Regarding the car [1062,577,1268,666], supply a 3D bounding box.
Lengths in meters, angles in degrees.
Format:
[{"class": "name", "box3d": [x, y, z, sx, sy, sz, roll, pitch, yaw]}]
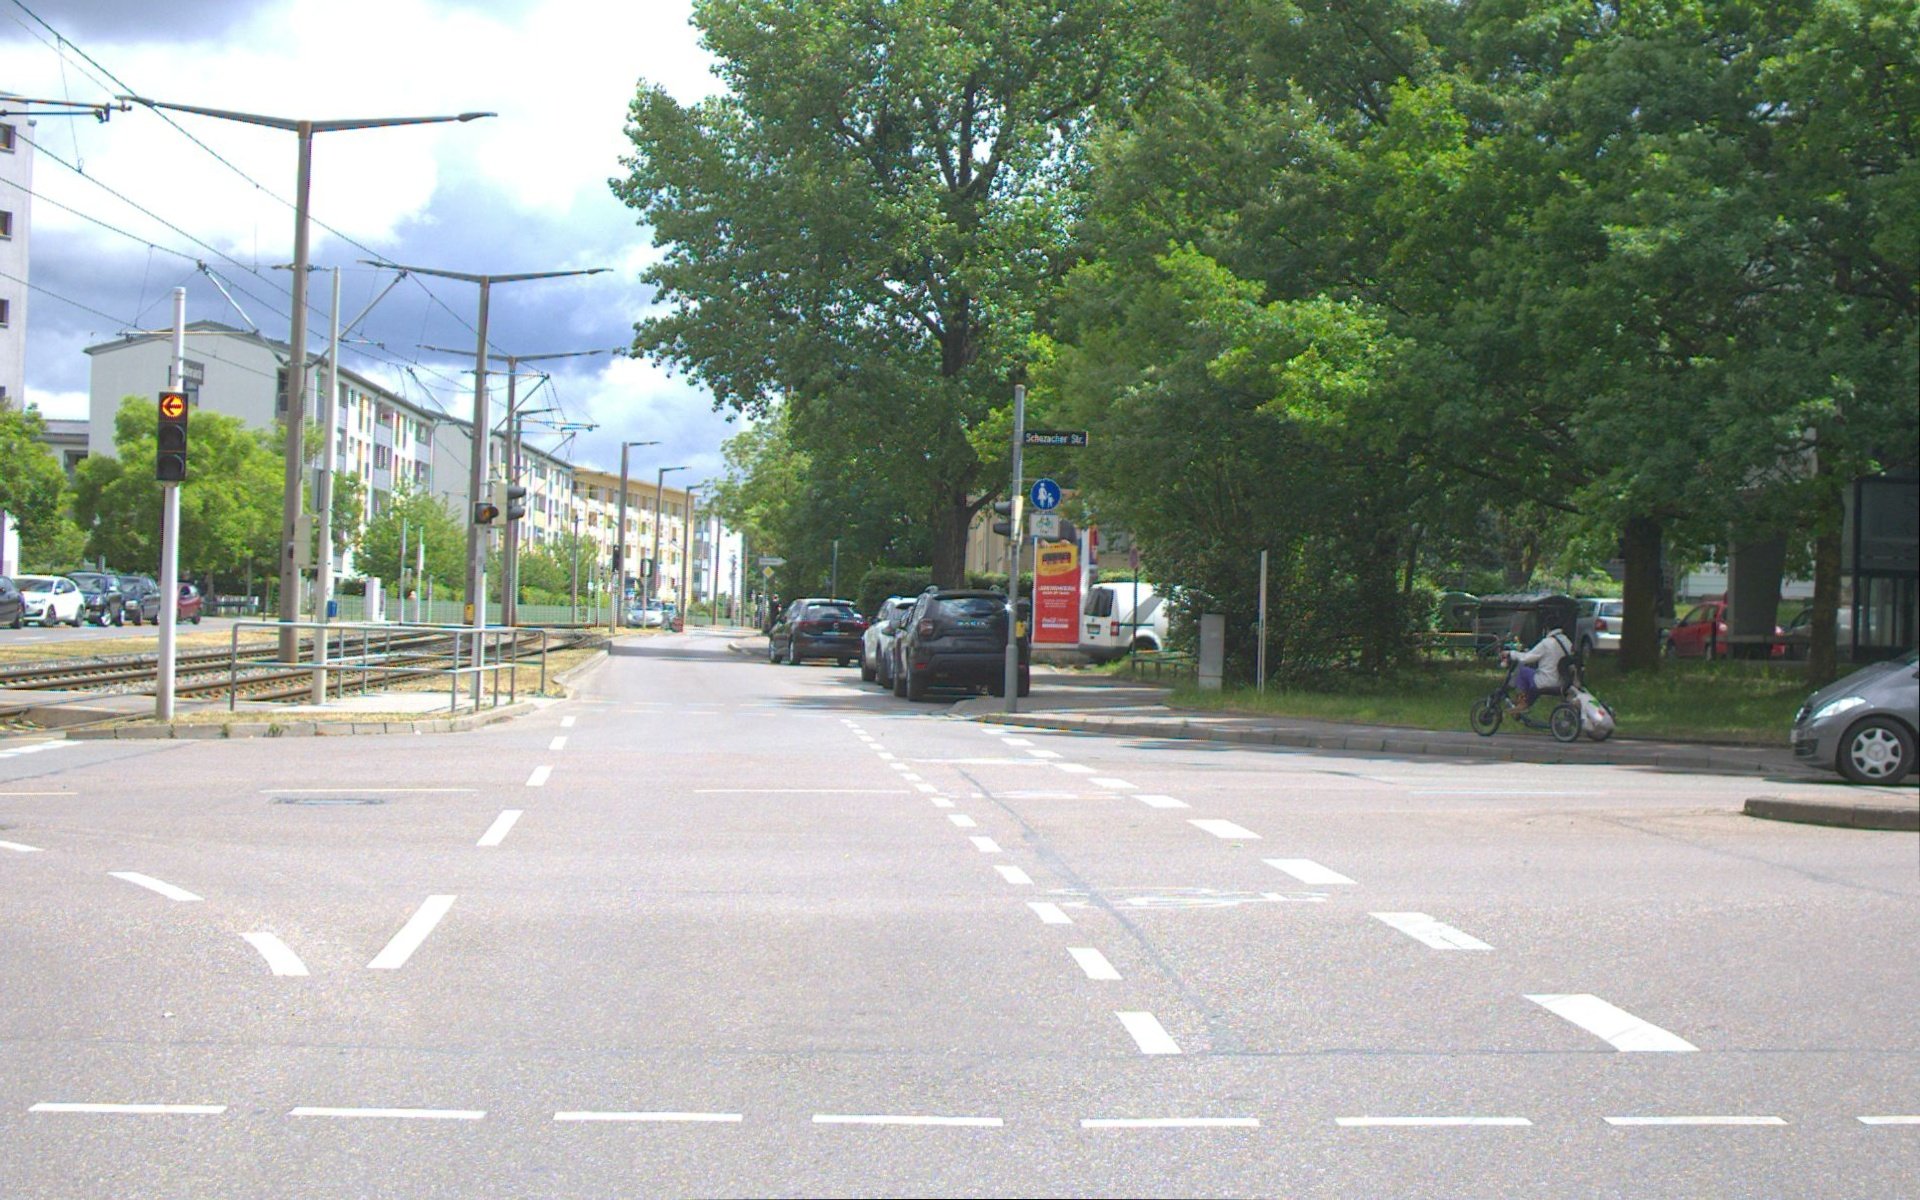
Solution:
[{"class": "car", "box3d": [4.375, 0.451, 73.336, 3.986, 1.817, 1.779, 1, 1, -23]}]

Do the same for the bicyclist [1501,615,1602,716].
[{"class": "bicyclist", "box3d": [6.159, 0.682, 35.796, 0.791, 1.019, 0.636, 1, 1, -37]}]

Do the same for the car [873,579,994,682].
[{"class": "car", "box3d": [-0.462, 0.526, 59.259, 1.993, 1.678, 4.000, 1, 0, -1]}]

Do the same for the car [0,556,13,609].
[{"class": "car", "box3d": [-26.293, -0.465, 91.075, 1.760, 1.390, 4.001, 1, 1, -7]}]

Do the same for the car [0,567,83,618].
[{"class": "car", "box3d": [-26.290, -0.228, 98.497, 1.760, 1.390, 4.001, 1, 1, -7]}]

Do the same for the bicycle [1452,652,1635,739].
[{"class": "bicycle", "box3d": [6.072, 0.984, 35.846, 0.791, 0.816, 1.807, 1, 1, -37]}]

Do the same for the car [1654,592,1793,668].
[{"class": "car", "box3d": [17.064, 0.658, 77.031, 1.730, 1.589, 4.001, 1, 1, -8]}]

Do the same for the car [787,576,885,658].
[{"class": "car", "box3d": [-2.662, 0.349, 74.468, 1.993, 1.678, 4.000, 1, 1, -1]}]

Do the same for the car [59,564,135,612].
[{"class": "car", "box3d": [-26.366, -0.372, 105.089, 1.760, 1.390, 4.001, 1, 1, -7]}]

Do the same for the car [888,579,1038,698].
[{"class": "car", "box3d": [0.027, 0.564, 51.812, 2.152, 1.678, 4.000, 1, 0, -1]}]

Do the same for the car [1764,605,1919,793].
[{"class": "car", "box3d": [9.146, 0.871, 30.117, 3.908, 1.550, 1.999, 1, 1, 9]}]

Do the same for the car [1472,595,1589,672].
[{"class": "car", "box3d": [12.472, 0.712, 75.353, 1.630, 1.567, 4.033, 1, 1, -4]}]

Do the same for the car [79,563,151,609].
[{"class": "car", "box3d": [-26.922, -0.464, 109.653, 1.760, 1.390, 4.001, 1, 1, -7]}]

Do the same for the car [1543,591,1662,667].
[{"class": "car", "box3d": [14.266, 0.626, 76.521, 1.630, 1.589, 4.001, 1, 1, -4]}]

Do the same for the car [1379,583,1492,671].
[{"class": "car", "box3d": [10.284, 0.559, 74.602, 1.630, 1.804, 4.033, 1, 1, -4]}]

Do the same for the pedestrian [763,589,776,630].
[{"class": "pedestrian", "box3d": [-7.543, 0.369, 136.201, 0.478, 1.631, 0.454, 1, 1, -1]}]
